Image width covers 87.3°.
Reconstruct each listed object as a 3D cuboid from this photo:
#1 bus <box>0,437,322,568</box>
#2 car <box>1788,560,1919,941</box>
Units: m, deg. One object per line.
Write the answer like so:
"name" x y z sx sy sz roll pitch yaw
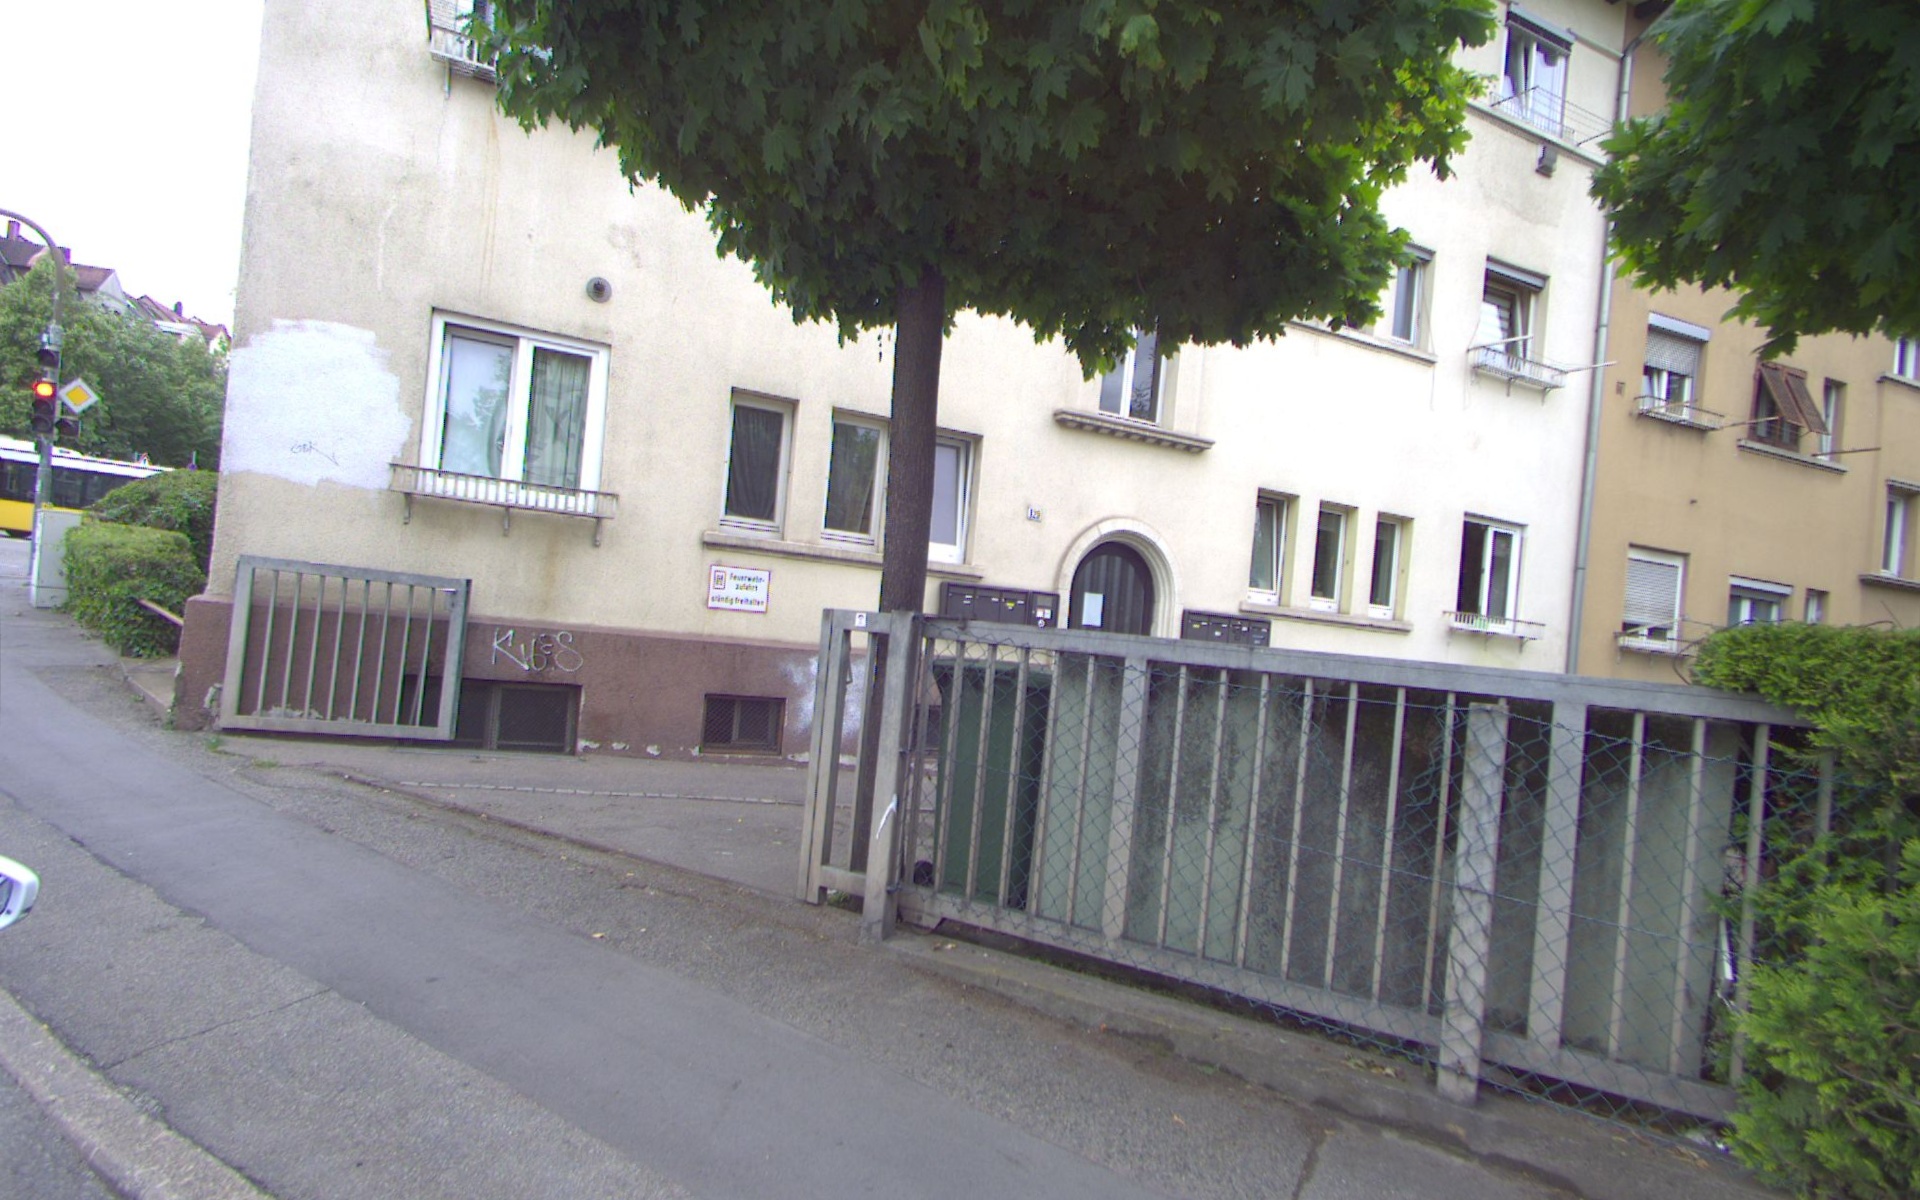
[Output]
"bus" -28.511 -3.336 33.486 11.935 3.135 3.164 6 0 -6
"car" 5.546 0.801 3.781 3.381 1.477 1.700 6 -2 30
